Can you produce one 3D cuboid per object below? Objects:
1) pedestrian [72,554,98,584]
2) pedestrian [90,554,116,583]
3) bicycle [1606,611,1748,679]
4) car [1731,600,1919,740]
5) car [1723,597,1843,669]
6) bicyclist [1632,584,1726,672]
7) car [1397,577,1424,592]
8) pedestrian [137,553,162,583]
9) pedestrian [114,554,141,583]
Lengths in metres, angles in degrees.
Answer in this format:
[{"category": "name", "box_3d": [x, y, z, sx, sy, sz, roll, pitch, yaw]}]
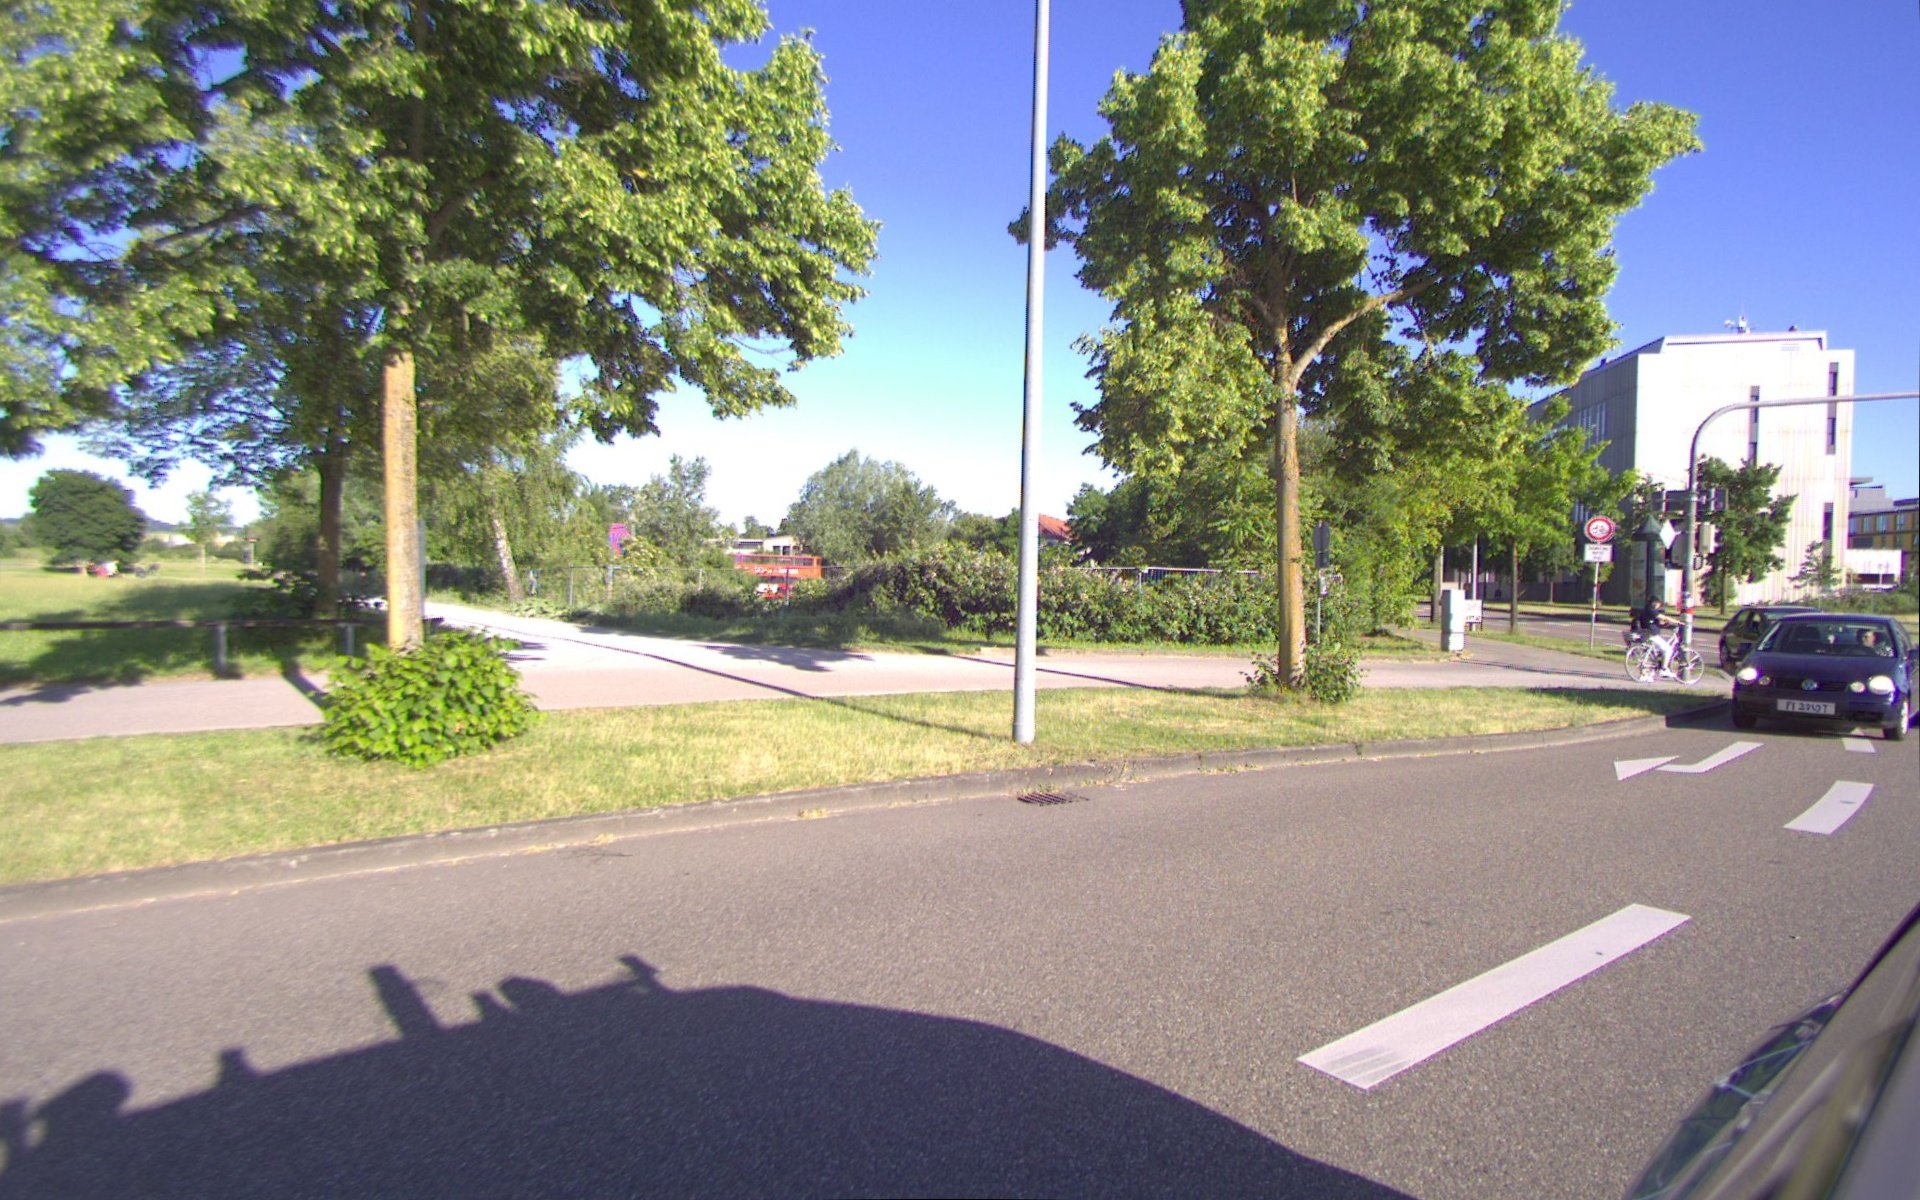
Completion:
[{"category": "pedestrian", "box_3d": [-44.482, -1.570, 51.445, 0.673, 1.458, 0.795, 1, 1, -5]}, {"category": "pedestrian", "box_3d": [-43.327, -1.578, 51.183, 0.673, 1.458, 0.795, 1, 1, -5]}, {"category": "bicycle", "box_3d": [13.543, 0.845, 19.132, 2.170, 1.169, 0.878, 2, 2, -11]}, {"category": "car", "box_3d": [11.611, 0.769, 13.217, 4.467, 1.486, 1.635, 0, 1, -42]}, {"category": "car", "box_3d": [19.011, 0.693, 23.529, 1.746, 1.472, 3.953, 0, 1, 33]}, {"category": "bicyclist", "box_3d": [13.574, 0.512, 19.132, 1.065, 1.581, 0.878, 2, 2, -11]}, {"category": "car", "box_3d": [54.973, -1.906, 123.553, 1.968, 1.760, 4.724, 1, 2, 11]}, {"category": "pedestrian", "box_3d": [-41.140, -1.622, 51.364, 0.648, 1.458, 0.795, 1, 1, -5]}, {"category": "pedestrian", "box_3d": [-42.421, -1.609, 51.574, 0.758, 1.458, 0.795, 1, 1, -5]}]
